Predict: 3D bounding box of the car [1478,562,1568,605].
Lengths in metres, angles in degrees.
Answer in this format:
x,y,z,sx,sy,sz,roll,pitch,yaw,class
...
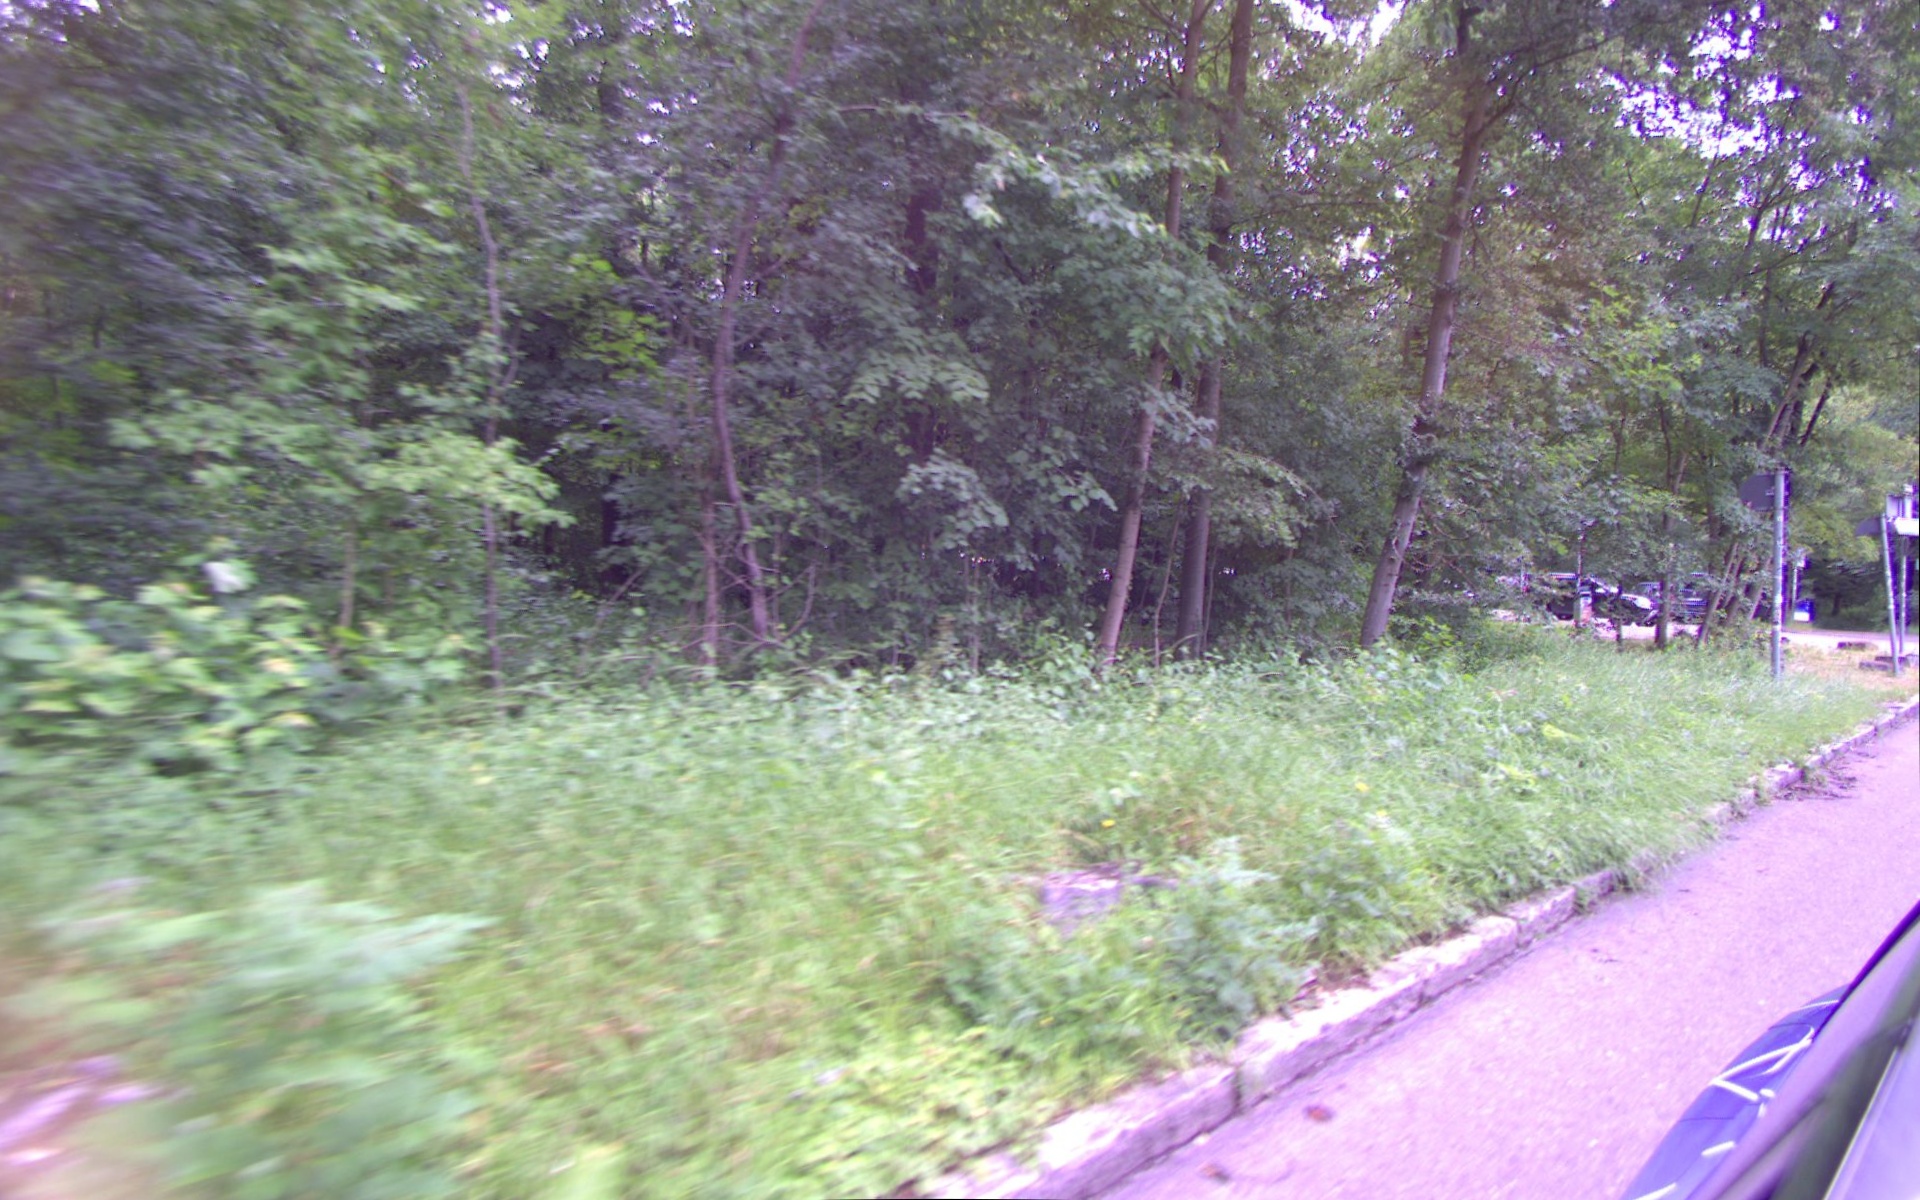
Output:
x,y,z,sx,sy,sz,roll,pitch,yaw,class
25.425,-0.749,45.692,3.922,1.787,1.826,1,3,-33,car

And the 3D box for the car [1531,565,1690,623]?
x,y,z,sx,sy,sz,roll,pitch,yaw,class
21.834,-0.261,34.129,1.779,1.653,4.106,-1,4,-30,car

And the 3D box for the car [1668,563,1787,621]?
x,y,z,sx,sy,sz,roll,pitch,yaw,class
29.315,-0.294,38.634,4.425,2.002,1.894,1,2,-29,car

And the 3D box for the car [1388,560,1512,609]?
x,y,z,sx,sy,sz,roll,pitch,yaw,class
18.961,-0.638,39.341,1.779,1.653,4.005,-1,4,-30,car
